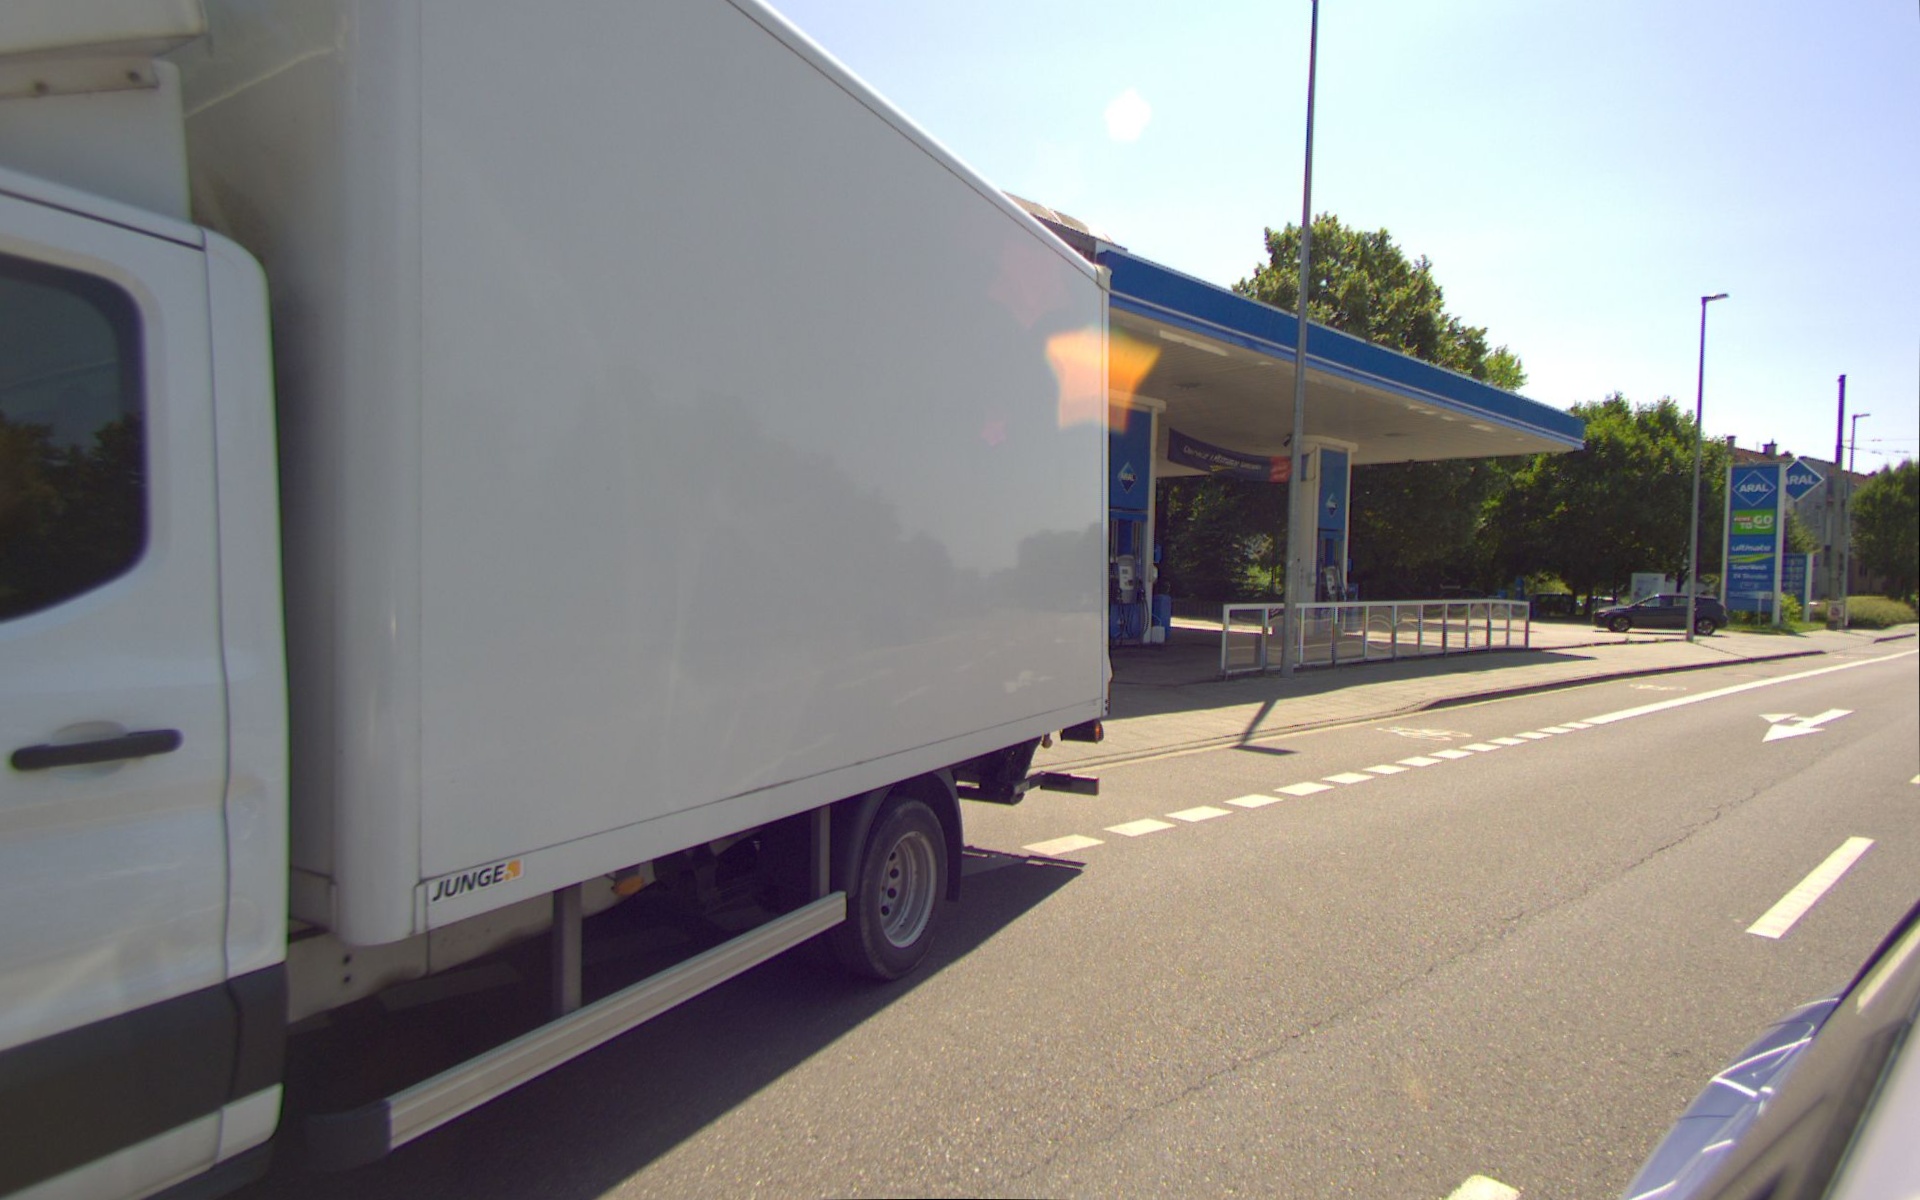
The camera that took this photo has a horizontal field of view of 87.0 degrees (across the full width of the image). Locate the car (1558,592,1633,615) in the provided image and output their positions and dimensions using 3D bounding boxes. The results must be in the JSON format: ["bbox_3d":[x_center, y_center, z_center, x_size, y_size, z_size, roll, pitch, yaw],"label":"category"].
[{"bbox_3d":[46.595,0.228,74.251,1.961,1.540,4.230,1,2,-33],"label":"car"}]

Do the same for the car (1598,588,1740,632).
[{"bbox_3d":[25.977,0.326,37.256,4.110,1.439,1.700,2,2,32],"label":"car"}]

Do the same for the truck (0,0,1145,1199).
[{"bbox_3d":[-1.843,-0.349,3.251,2.406,3.433,7.754,2,2,29],"label":"truck"}]

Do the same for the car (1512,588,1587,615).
[{"bbox_3d":[40.652,0.099,69.843,1.959,1.708,4.008,1,1,-26],"label":"car"}]

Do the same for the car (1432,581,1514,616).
[{"bbox_3d":[26.534,-0.109,52.310,4.328,1.683,2.000,-1,2,-36],"label":"car"}]
